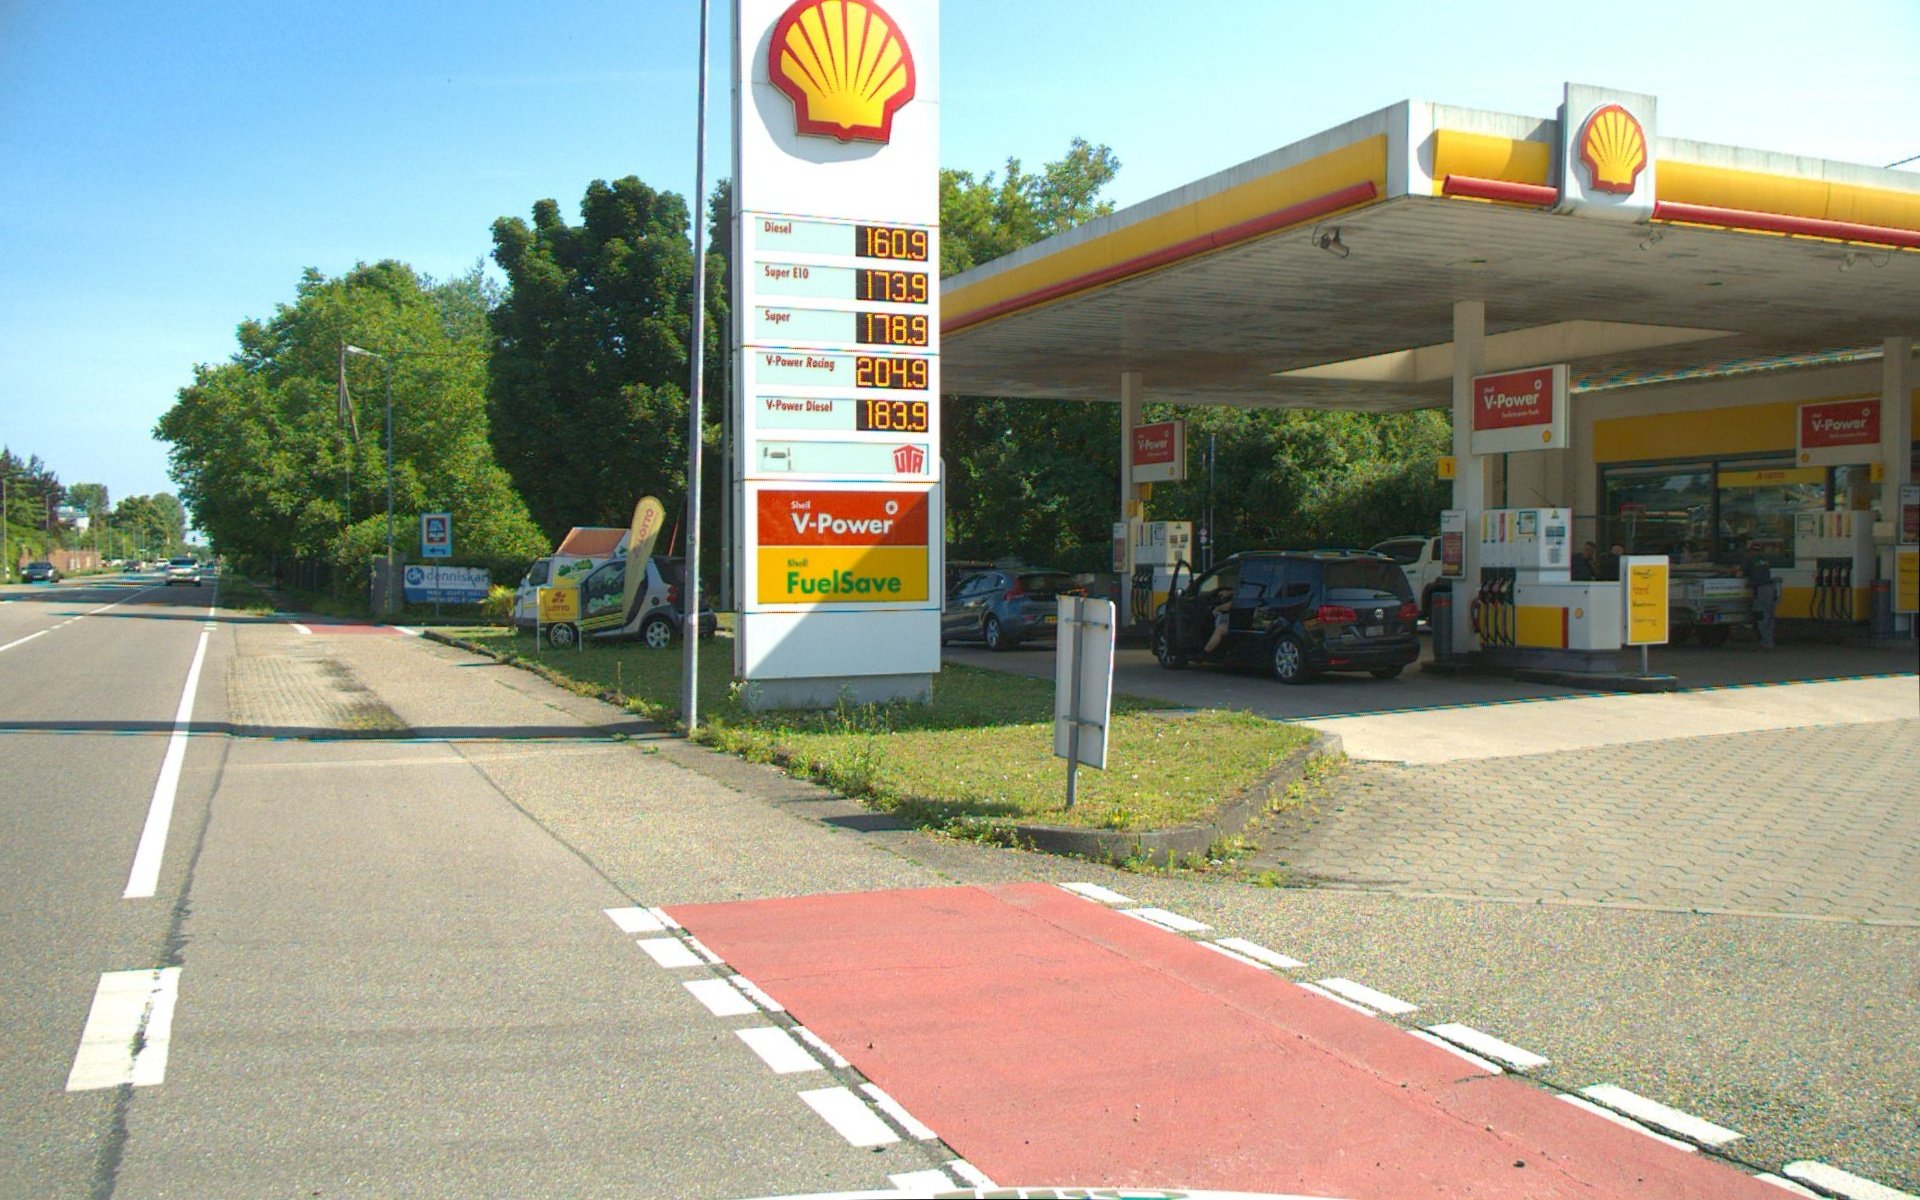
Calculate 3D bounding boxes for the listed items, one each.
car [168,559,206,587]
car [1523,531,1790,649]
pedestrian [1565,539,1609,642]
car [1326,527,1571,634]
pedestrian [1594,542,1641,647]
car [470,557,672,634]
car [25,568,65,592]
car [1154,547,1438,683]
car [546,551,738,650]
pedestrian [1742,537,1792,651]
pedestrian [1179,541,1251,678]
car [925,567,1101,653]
[{"bbox_3d":[-44.593,-1.562,95.482,1.822,1.568,4.193,1,0,-24],"label":"car"},{"bbox_3d":[11.181,-0.189,26.845,1.801,1.758,3.976,-1,1,-20],"label":"car"},{"bbox_3d":[10.152,-0.161,26.783,0.492,1.660,0.473,-1,1,-21],"label":"pedestrian"},{"bbox_3d":[9.196,-0.408,31.571,1.828,1.869,4.742,-1,2,-25],"label":"car"},{"bbox_3d":[10.320,-0.097,25.962,0.492,1.621,0.473,-1,1,-21],"label":"pedestrian"},{"bbox_3d":[-8.339,-0.076,35.532,3.947,1.557,1.569,1,0,-32],"label":"car"},{"bbox_3d":[-61.746,-1.347,111.668,1.823,1.522,4.875,-3,2,-24],"label":"car"},{"bbox_3d":[4.313,0.126,21.803,1.737,1.606,3.847,-1,2,-25],"label":"car"},{"bbox_3d":[-5.212,0.016,27.189,2.666,1.557,1.578,0,-1,20],"label":"car"},{"bbox_3d":[12.177,-0.100,24.954,0.468,1.697,0.497,-1,1,-23],"label":"pedestrian"},{"bbox_3d":[3.353,0.108,21.766,0.661,1.759,0.808,-1,1,-16],"label":"pedestrian"},{"bbox_3d":[0.860,0.124,29.220,1.772,1.384,3.824,-1,1,-21],"label":"car"}]
